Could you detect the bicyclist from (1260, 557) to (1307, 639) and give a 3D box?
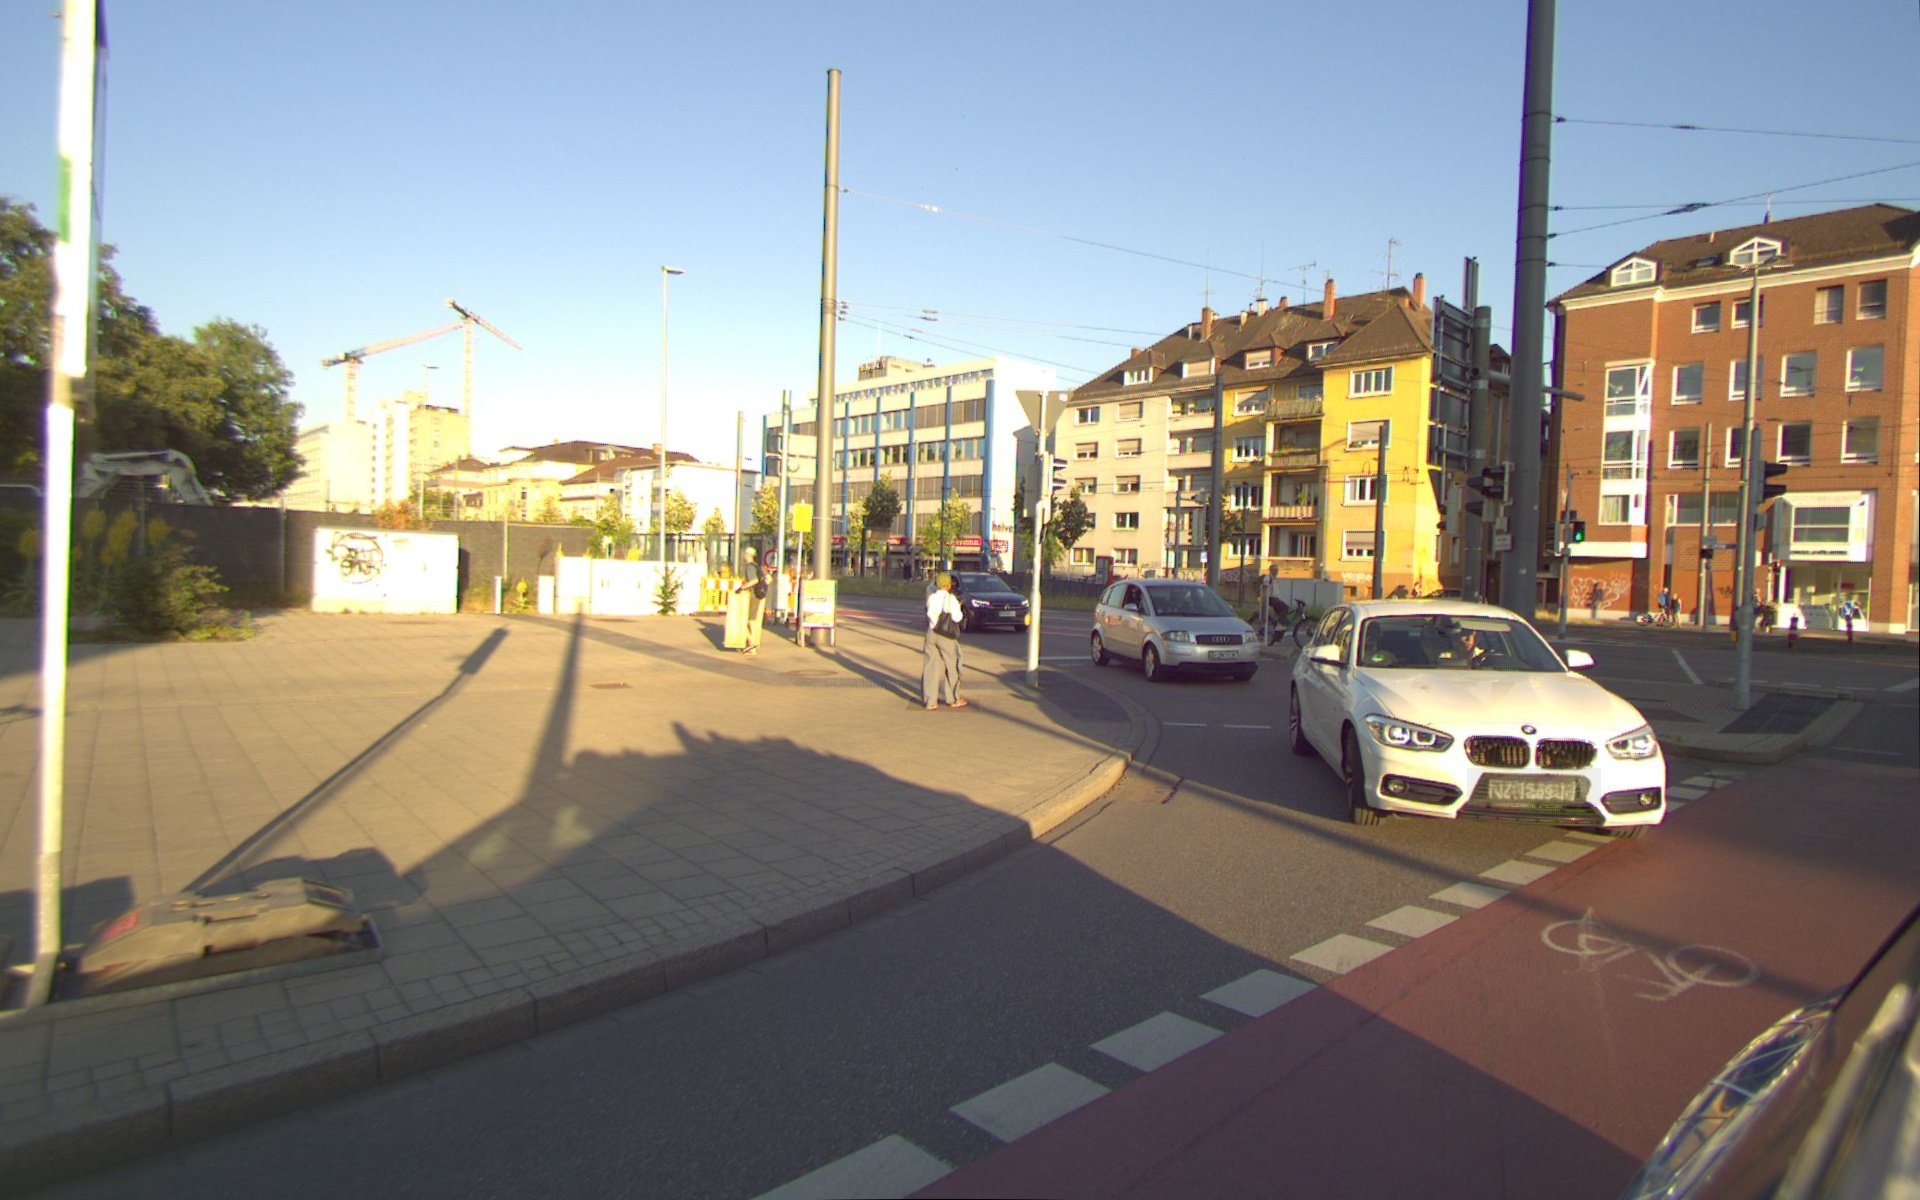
[{"bbox_3d":[6.818,-0.051,21.327,0.745,1.691,0.587,2,2,42],"label":"bicyclist"}]

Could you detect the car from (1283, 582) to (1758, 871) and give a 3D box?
[{"bbox_3d":[3.741,0.643,7.740,1.886,1.423,4.292,1,2,11],"label":"car"}]

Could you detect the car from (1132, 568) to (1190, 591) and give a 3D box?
[{"bbox_3d":[13.893,-1.391,69.923,3.534,1.437,1.711,4,3,45],"label":"car"}]

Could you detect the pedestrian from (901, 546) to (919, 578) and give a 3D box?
[{"bbox_3d":[-2.563,-1.952,51.615,0.556,1.610,0.689,1,2,-40],"label":"pedestrian"}]

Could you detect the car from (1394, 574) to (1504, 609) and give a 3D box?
[{"bbox_3d":[25.108,-0.470,52.089,1.885,1.522,4.693,0,3,-43],"label":"car"}]

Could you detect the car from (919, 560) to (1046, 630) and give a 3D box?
[{"bbox_3d":[0.491,-0.187,26.811,1.903,1.637,4.403,1,2,-19],"label":"car"}]

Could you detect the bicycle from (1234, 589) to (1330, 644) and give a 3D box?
[{"bbox_3d":[6.779,0.335,21.372,1.841,1.035,0.587,4,3,43],"label":"bicycle"}]

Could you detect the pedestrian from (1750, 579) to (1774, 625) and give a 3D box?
[{"bbox_3d":[30.583,0.063,38.597,0.505,1.729,0.420,1,1,-15],"label":"pedestrian"}]

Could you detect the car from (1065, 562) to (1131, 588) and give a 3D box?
[{"bbox_3d":[10.037,-1.805,73.662,4.338,1.725,2.085,4,3,45],"label":"car"}]

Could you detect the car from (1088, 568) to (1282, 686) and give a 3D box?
[{"bbox_3d":[3.438,0.320,16.195,1.646,1.580,3.735,-1,3,-12],"label":"car"}]

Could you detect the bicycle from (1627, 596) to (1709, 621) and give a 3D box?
[{"bbox_3d":[33.460,0.375,47.861,3.051,1.029,0.918,4,2,41],"label":"bicycle"}]

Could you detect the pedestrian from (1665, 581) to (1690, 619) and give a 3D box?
[{"bbox_3d":[34.276,-0.018,48.362,0.869,1.800,0.904,3,2,39],"label":"pedestrian"}]

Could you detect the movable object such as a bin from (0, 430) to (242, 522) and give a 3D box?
[{"bbox_3d":[-22.042,-3.180,26.459,4.919,2.038,2.005,1,2,-13],"label":"movable object such as a bin"}]

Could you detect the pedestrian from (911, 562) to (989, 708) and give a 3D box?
[{"bbox_3d":[-0.122,0.386,11.891,0.585,1.633,0.690,1,2,-35],"label":"pedestrian"}]

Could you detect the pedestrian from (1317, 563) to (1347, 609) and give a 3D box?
[{"bbox_3d":[12.968,-0.490,35.267,0.693,1.560,0.638,1,2,-27],"label":"pedestrian"}]

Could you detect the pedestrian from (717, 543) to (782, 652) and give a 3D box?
[{"bbox_3d":[-3.559,-0.058,17.146,0.807,1.757,0.943,2,2,5],"label":"pedestrian"}]
